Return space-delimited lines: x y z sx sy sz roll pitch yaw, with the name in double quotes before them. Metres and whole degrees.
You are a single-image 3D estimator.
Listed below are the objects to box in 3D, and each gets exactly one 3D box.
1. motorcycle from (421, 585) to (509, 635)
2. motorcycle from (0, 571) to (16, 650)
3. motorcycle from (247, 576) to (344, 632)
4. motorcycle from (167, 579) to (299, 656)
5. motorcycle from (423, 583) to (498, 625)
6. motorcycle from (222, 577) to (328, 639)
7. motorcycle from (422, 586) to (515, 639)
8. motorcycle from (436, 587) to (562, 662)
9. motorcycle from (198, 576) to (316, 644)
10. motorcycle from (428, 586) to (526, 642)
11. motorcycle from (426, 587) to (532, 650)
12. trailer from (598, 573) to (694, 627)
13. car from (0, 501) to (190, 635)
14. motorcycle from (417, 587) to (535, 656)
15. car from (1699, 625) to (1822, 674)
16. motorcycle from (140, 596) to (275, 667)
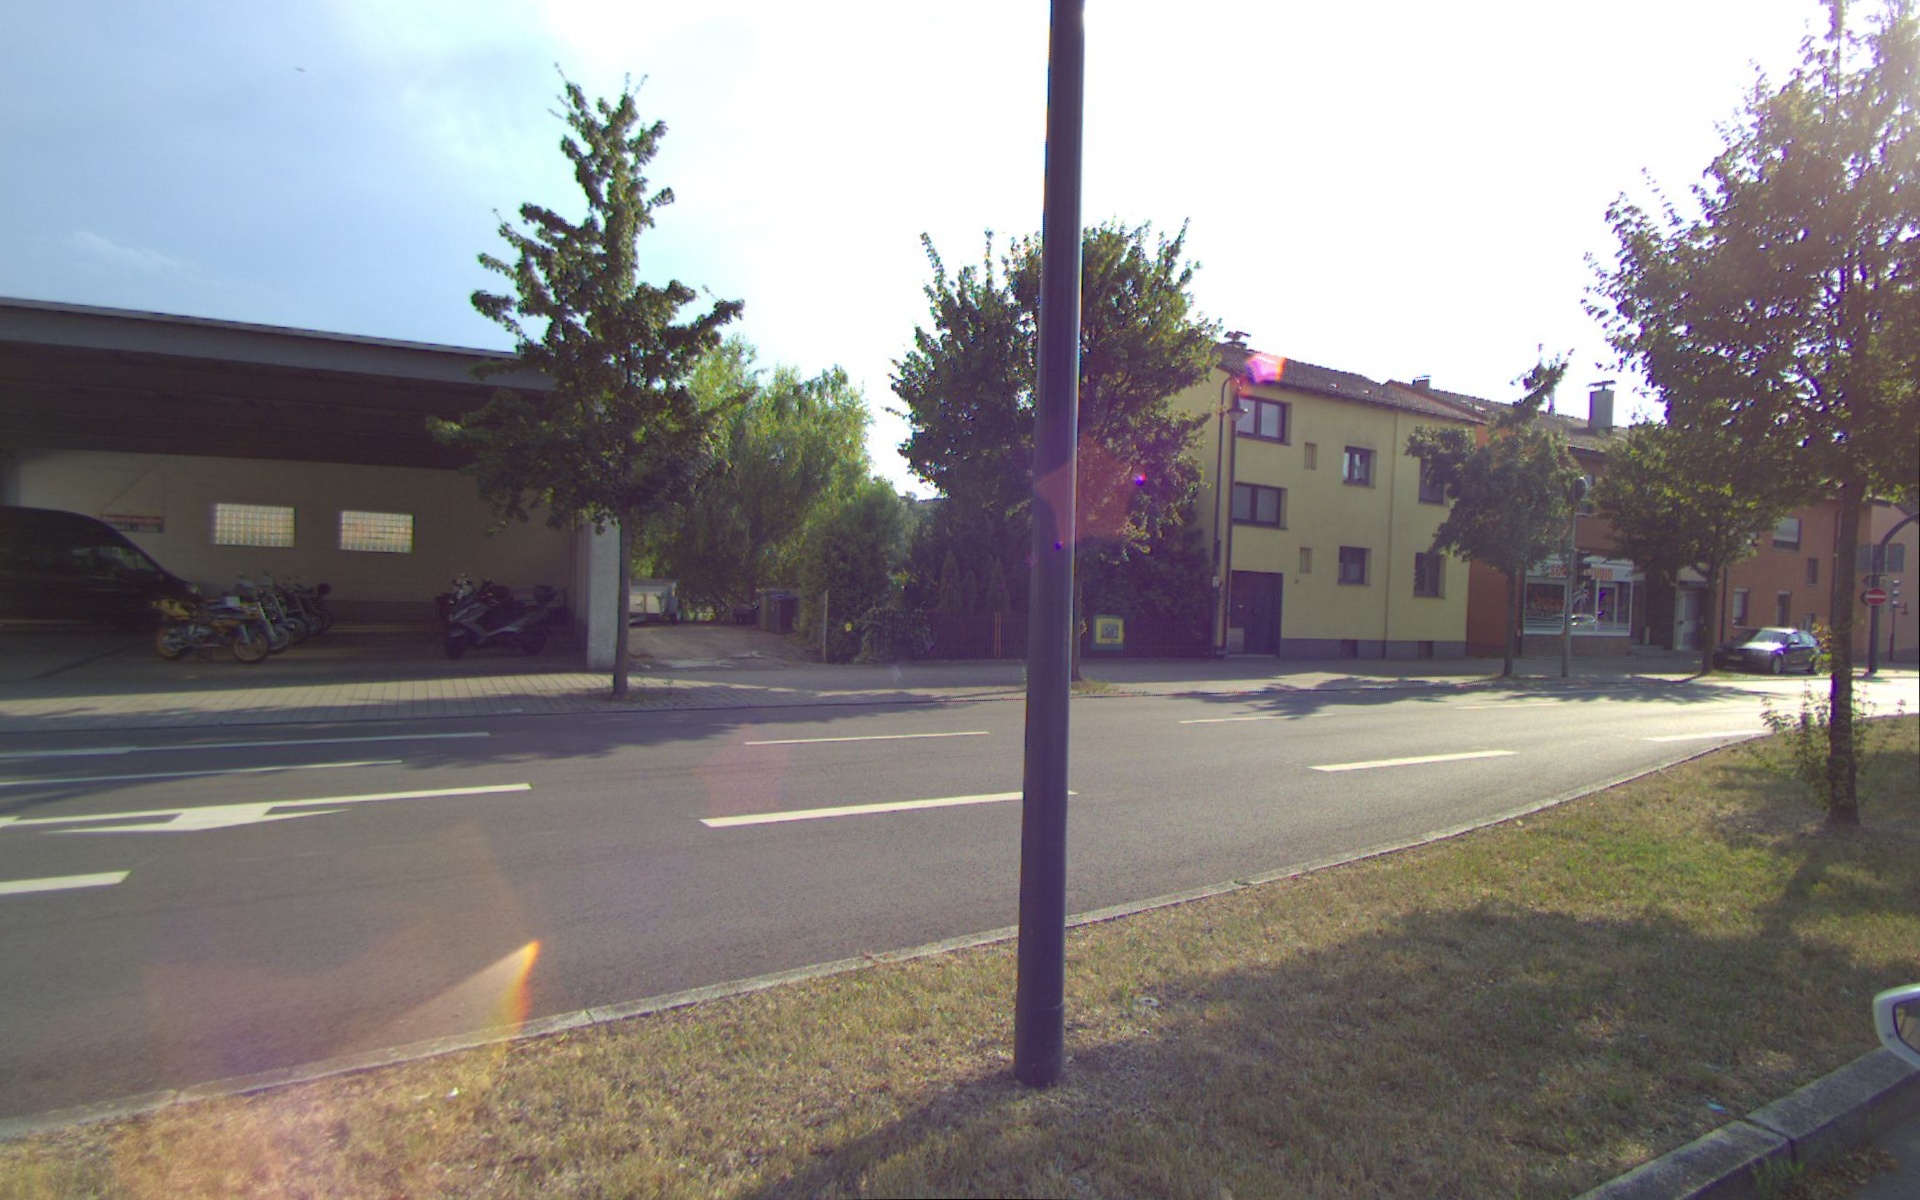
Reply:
"motorcycle" -13.523 0.240 27.521 0.621 1.314 2.113 1 2 36
"motorcycle" -17.298 0.169 16.728 0.619 1.380 2.225 1 0 24
"motorcycle" -16.919 0.102 25.576 2.219 1.354 0.631 1 0 10
"motorcycle" -13.643 0.319 18.865 2.219 1.354 0.631 1 0 10
"motorcycle" -15.969 0.100 32.180 0.621 1.314 2.113 1 2 36
"motorcycle" -15.895 0.181 23.317 2.219 1.354 0.631 1 0 10
"motorcycle" -12.658 0.292 25.923 0.621 1.314 2.113 1 2 36
"motorcycle" -8.629 0.430 18.899 0.621 1.314 2.113 1 2 36
"motorcycle" -14.763 0.205 21.108 2.219 1.354 0.631 1 0 10
"motorcycle" -11.777 0.312 24.540 0.621 1.314 2.113 1 2 36
"motorcycle" -10.752 0.383 22.539 0.621 1.314 2.113 1 2 36
"trailer" -8.227 -0.007 26.620 1.698 1.280 3.995 1 0 -7
"car" -20.463 -0.681 22.095 1.962 2.789 5.280 1 0 26
"motorcycle" -9.823 0.401 20.462 0.621 1.314 2.113 1 2 36
"car" 25.960 1.594 32.554 3.953 1.319 1.728 1 4 -30
"motorcycle" -12.507 0.504 16.700 1.993 1.101 0.631 1 0 12
